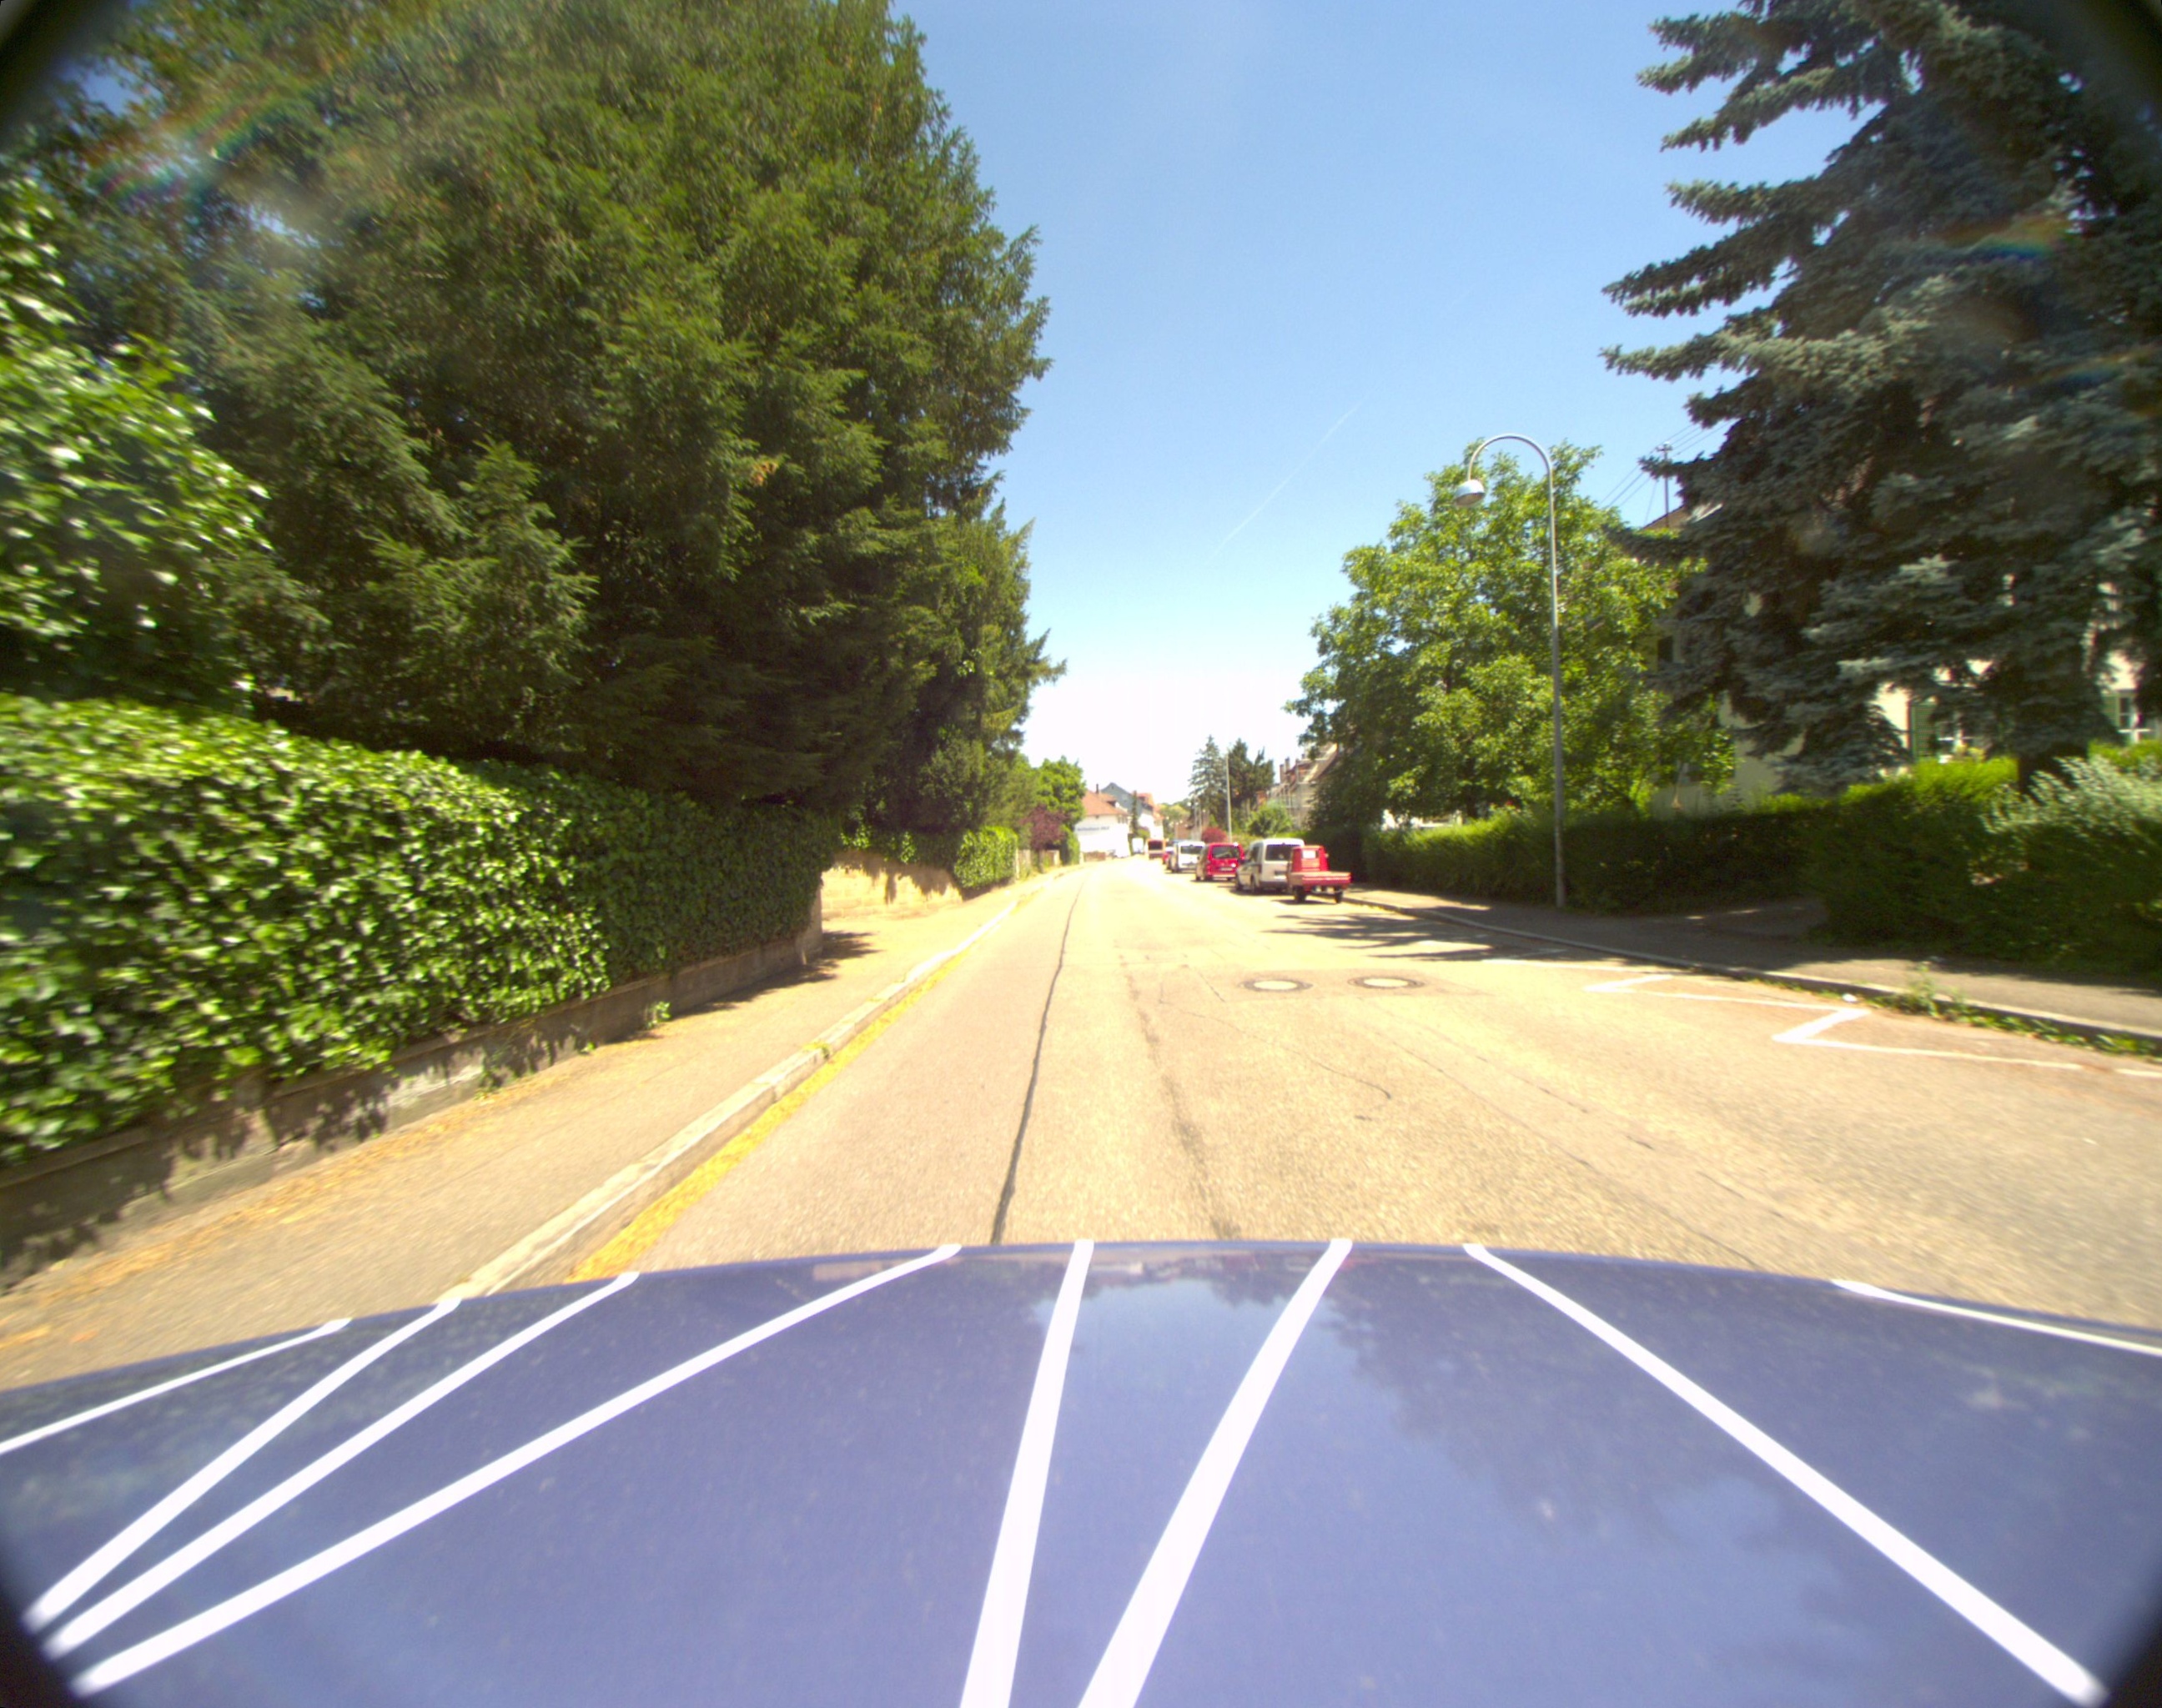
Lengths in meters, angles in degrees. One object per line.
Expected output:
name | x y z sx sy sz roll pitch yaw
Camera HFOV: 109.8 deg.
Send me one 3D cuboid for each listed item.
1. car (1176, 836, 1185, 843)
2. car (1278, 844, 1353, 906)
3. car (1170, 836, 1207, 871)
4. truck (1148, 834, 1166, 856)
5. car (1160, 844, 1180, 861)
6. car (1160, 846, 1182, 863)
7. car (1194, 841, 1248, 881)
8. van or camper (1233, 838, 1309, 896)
car | 26.657 -3.874 203.370 1.891 1.726 4.002 0 1 11
car | 6.221 0.525 20.363 1.308 1.568 2.321 -1 1 1
car | 6.767 -0.055 48.286 1.893 2.103 3.999 0 1 2
truck | 10.730 -1.240 106.611 2.226 2.915 6.727 0 1 8
car | 9.467 -0.154 81.294 1.893 1.813 3.999 0 1 3
car | 9.001 -0.009 76.307 1.893 1.628 3.999 0 1 2
car | 6.391 0.280 35.044 1.893 1.749 3.612 0 1 2
van or camper | 6.177 0.386 25.074 1.583 1.760 3.888 -1 0 1
